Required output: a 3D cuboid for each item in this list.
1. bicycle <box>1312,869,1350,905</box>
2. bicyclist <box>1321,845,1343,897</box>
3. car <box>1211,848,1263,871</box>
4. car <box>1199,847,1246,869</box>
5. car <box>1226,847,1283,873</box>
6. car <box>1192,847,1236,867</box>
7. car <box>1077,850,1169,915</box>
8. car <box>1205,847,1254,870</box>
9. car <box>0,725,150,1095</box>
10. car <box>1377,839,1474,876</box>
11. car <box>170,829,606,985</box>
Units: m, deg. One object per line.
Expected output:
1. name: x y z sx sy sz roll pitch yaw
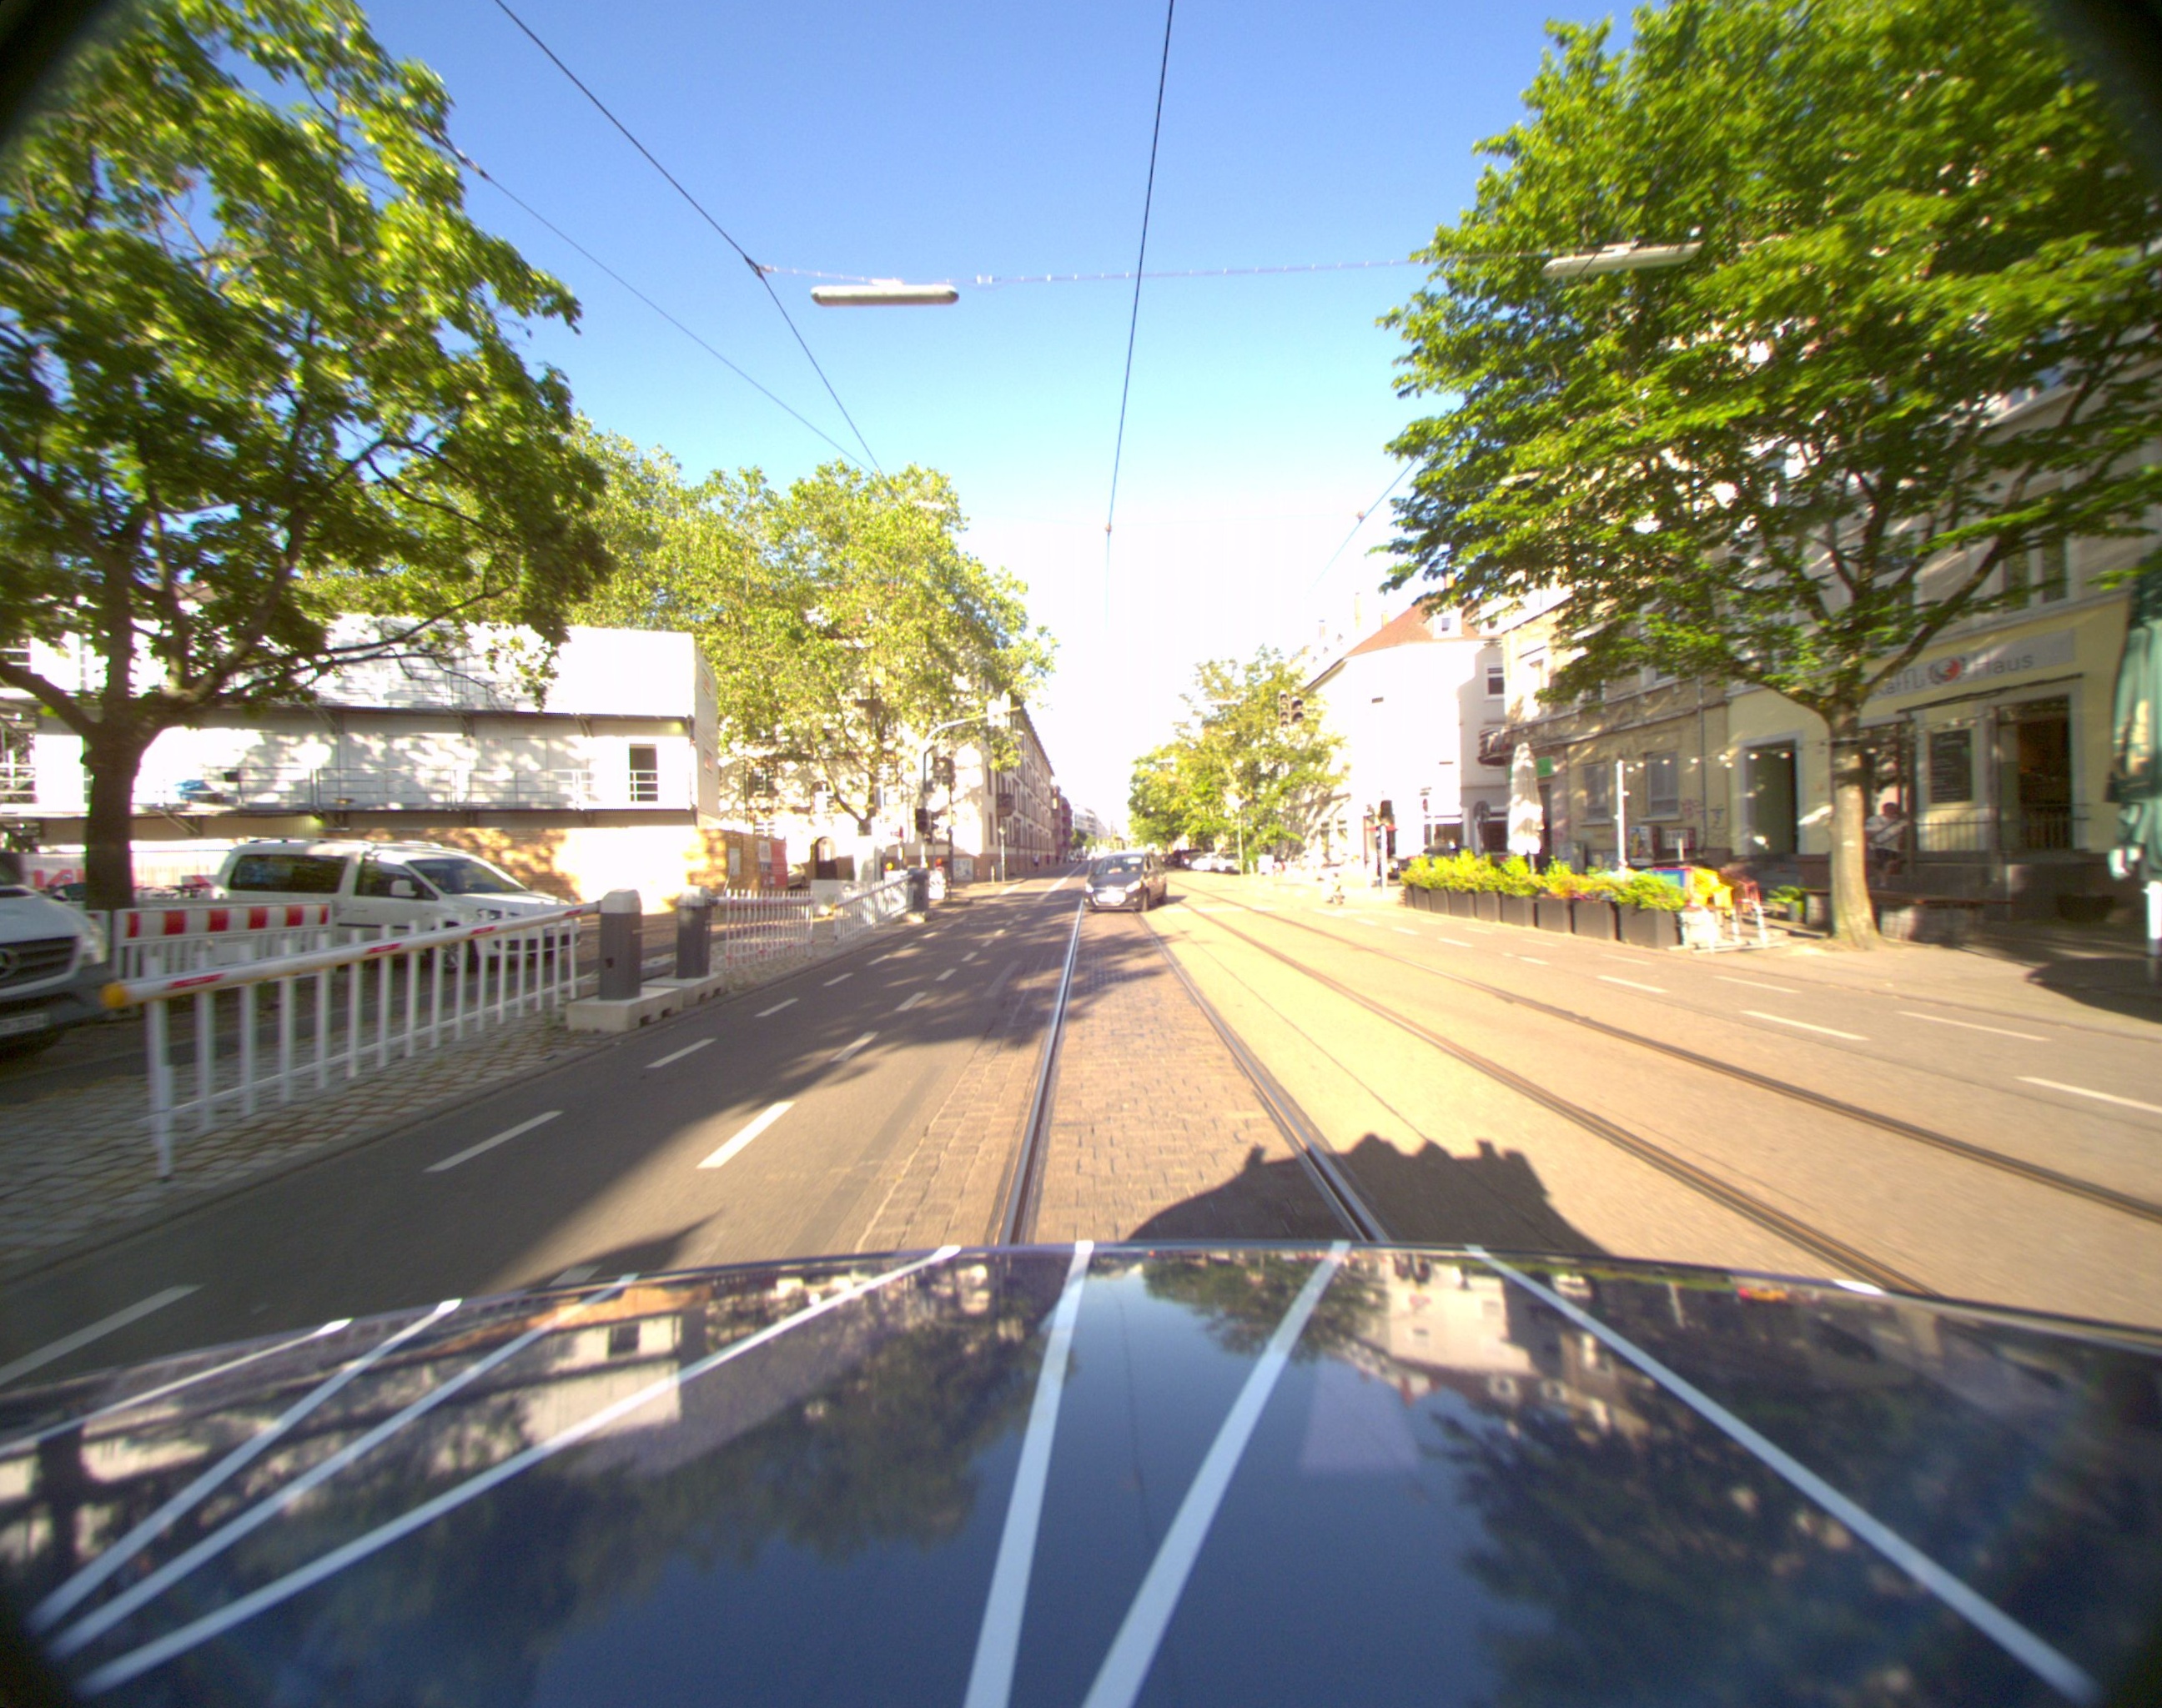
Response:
1. bicycle: 7.265 0.942 22.136 0.451 0.931 1.757 -1 0 -3
2. bicyclist: 7.266 0.488 22.017 0.419 1.463 0.590 -1 1 -2
3. car: 10.967 0.380 53.562 3.337 1.446 1.496 -3 2 3
4. car: 10.894 0.318 58.742 3.336 1.446 1.496 -3 2 3
5. car: 11.036 0.378 48.488 3.335 1.446 1.496 -3 2 8
6. car: 10.979 0.261 62.773 3.336 1.446 1.496 -3 2 3
7. car: 1.292 0.734 21.549 1.748 1.612 4.174 -2 0 15
8. car: 11.000 0.308 56.274 3.336 1.446 1.496 -3 2 3
9. car: -10.129 0.432 5.028 5.335 2.548 2.013 -1 1 0
10. car: 16.812 0.165 37.297 3.993 1.740 2.002 -1 1 13
11. car: -10.100 0.734 11.328 4.793 1.998 2.000 -2 1 5
